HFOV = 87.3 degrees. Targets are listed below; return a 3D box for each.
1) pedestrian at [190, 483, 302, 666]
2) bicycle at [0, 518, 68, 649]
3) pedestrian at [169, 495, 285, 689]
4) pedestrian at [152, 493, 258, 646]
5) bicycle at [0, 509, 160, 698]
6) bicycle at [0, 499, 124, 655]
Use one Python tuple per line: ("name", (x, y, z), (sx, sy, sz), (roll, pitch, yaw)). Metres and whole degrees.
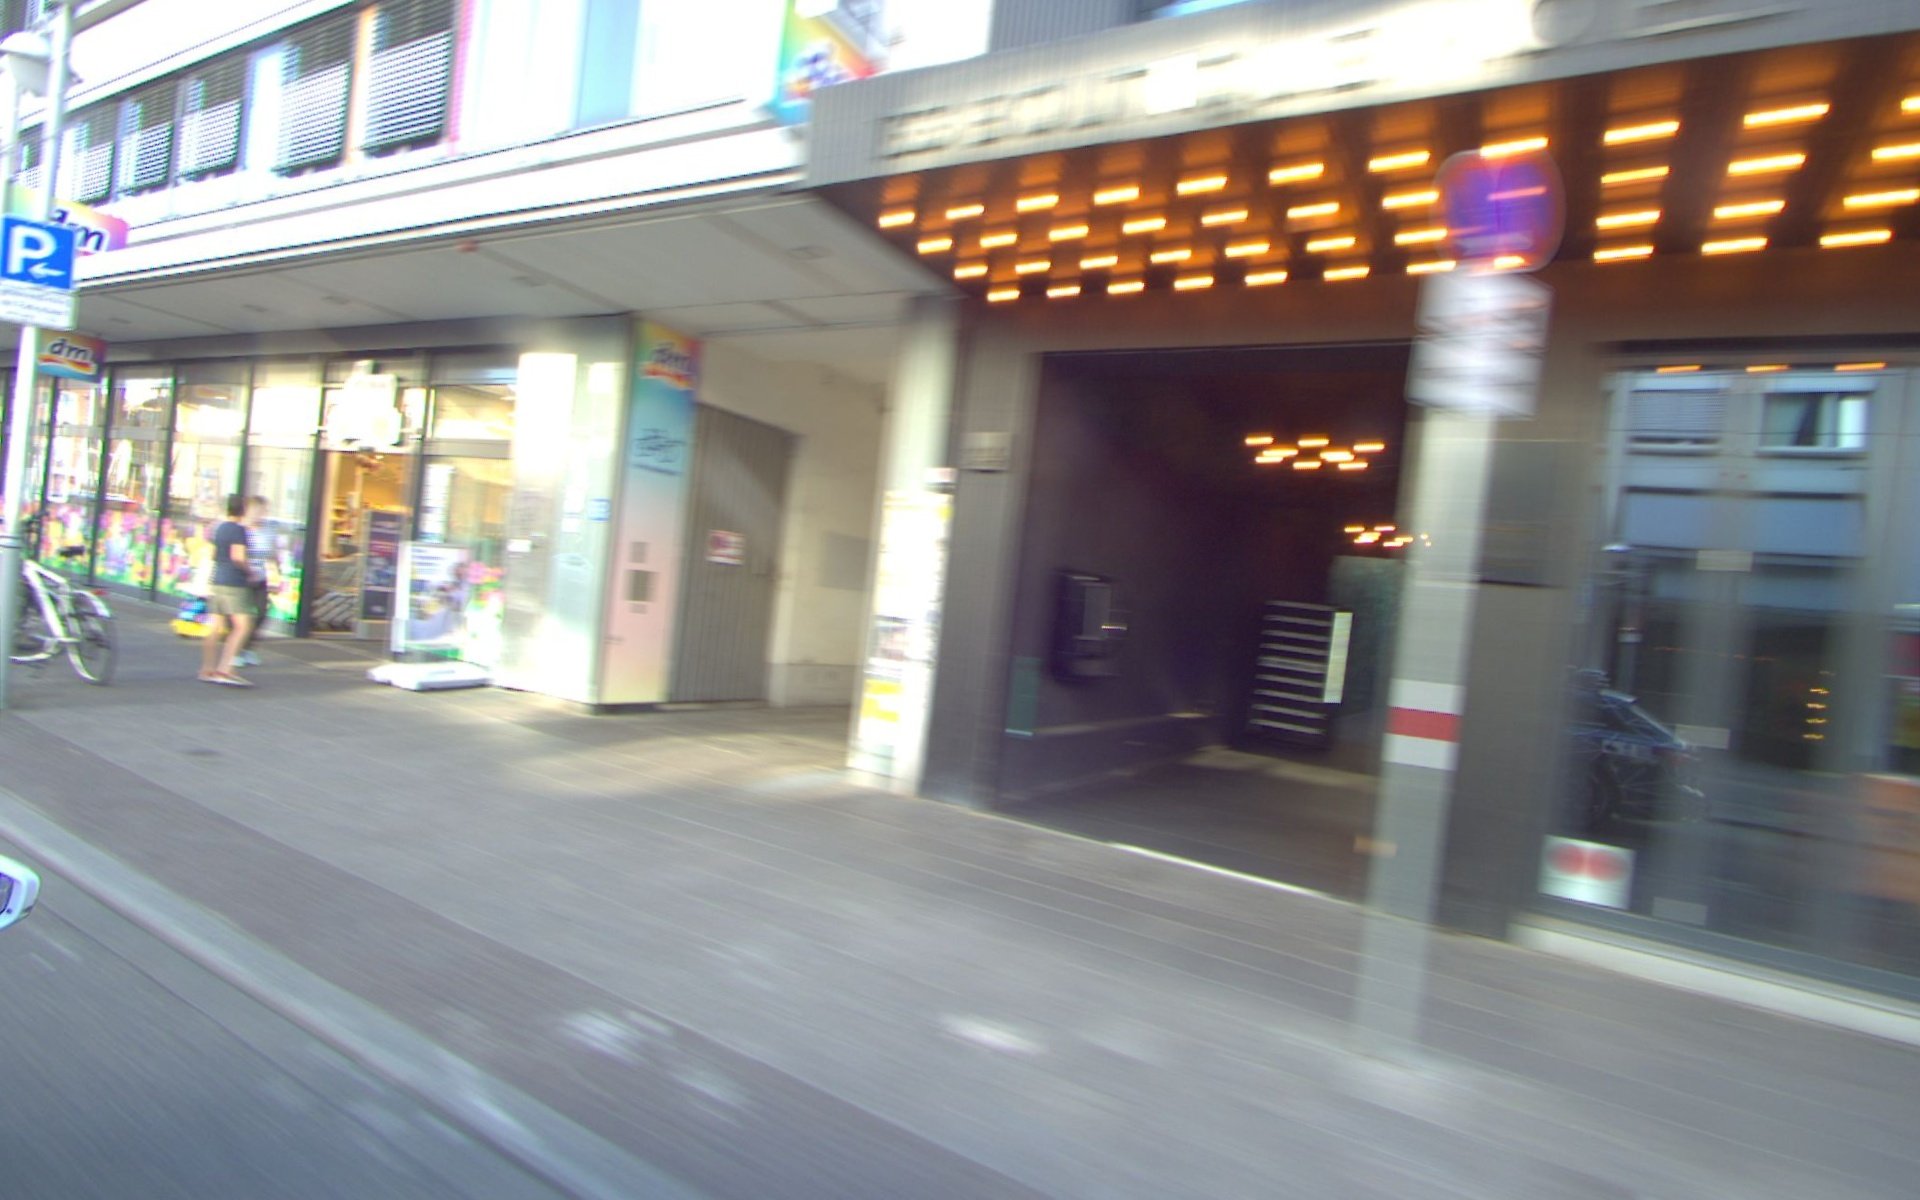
("pedestrian", (-6.598, -0.230, 9.303), (0.587, 1.607, 0.581), (7, 3, 29))
("bicycle", (-8.880, -0.177, 8.597), (0.470, 1.145, 1.777), (7, 1, 26))
("pedestrian", (-6.062, -0.070, 8.321), (0.573, 1.513, 0.523), (7, 3, 30))
("pedestrian", (-7.900, -0.319, 10.545), (0.586, 1.506, 0.582), (5, 3, 0))
("bicycle", (-6.908, -0.007, 7.747), (1.574, 1.274, 0.581), (7, 3, 30))
("bicycle", (-8.295, -0.207, 8.365), (0.515, 1.292, 2.039), (7, 3, 21))
